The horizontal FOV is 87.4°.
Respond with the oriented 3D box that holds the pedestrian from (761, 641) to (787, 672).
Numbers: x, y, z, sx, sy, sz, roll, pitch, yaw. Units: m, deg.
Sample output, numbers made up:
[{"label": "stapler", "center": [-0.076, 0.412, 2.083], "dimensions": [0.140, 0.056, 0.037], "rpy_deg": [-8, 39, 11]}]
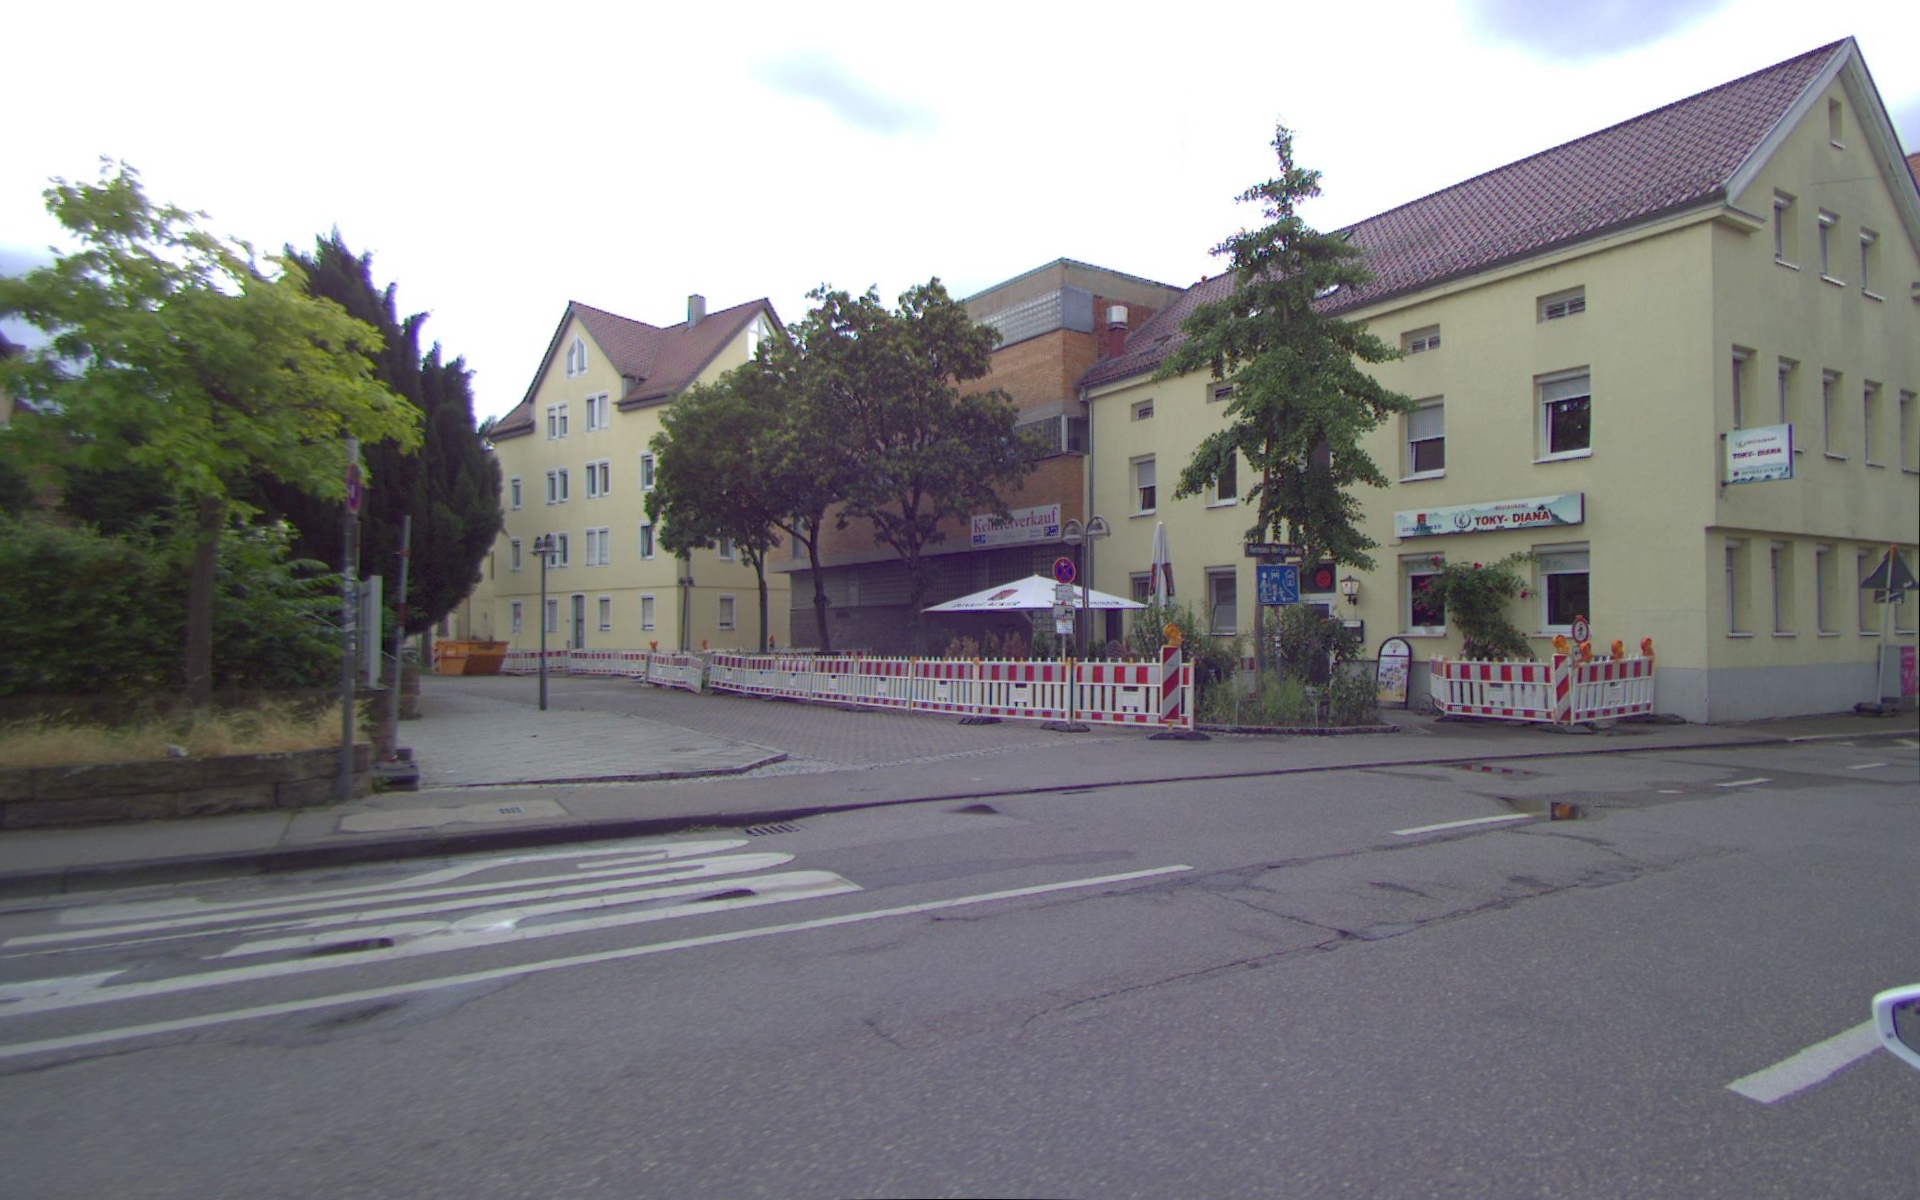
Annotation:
[{"label": "pedestrian", "center": [-7.542, 2.283, 40.675], "dimensions": [0.779, 1.249, 0.782], "rpy_deg": [2, -1, -30]}]
